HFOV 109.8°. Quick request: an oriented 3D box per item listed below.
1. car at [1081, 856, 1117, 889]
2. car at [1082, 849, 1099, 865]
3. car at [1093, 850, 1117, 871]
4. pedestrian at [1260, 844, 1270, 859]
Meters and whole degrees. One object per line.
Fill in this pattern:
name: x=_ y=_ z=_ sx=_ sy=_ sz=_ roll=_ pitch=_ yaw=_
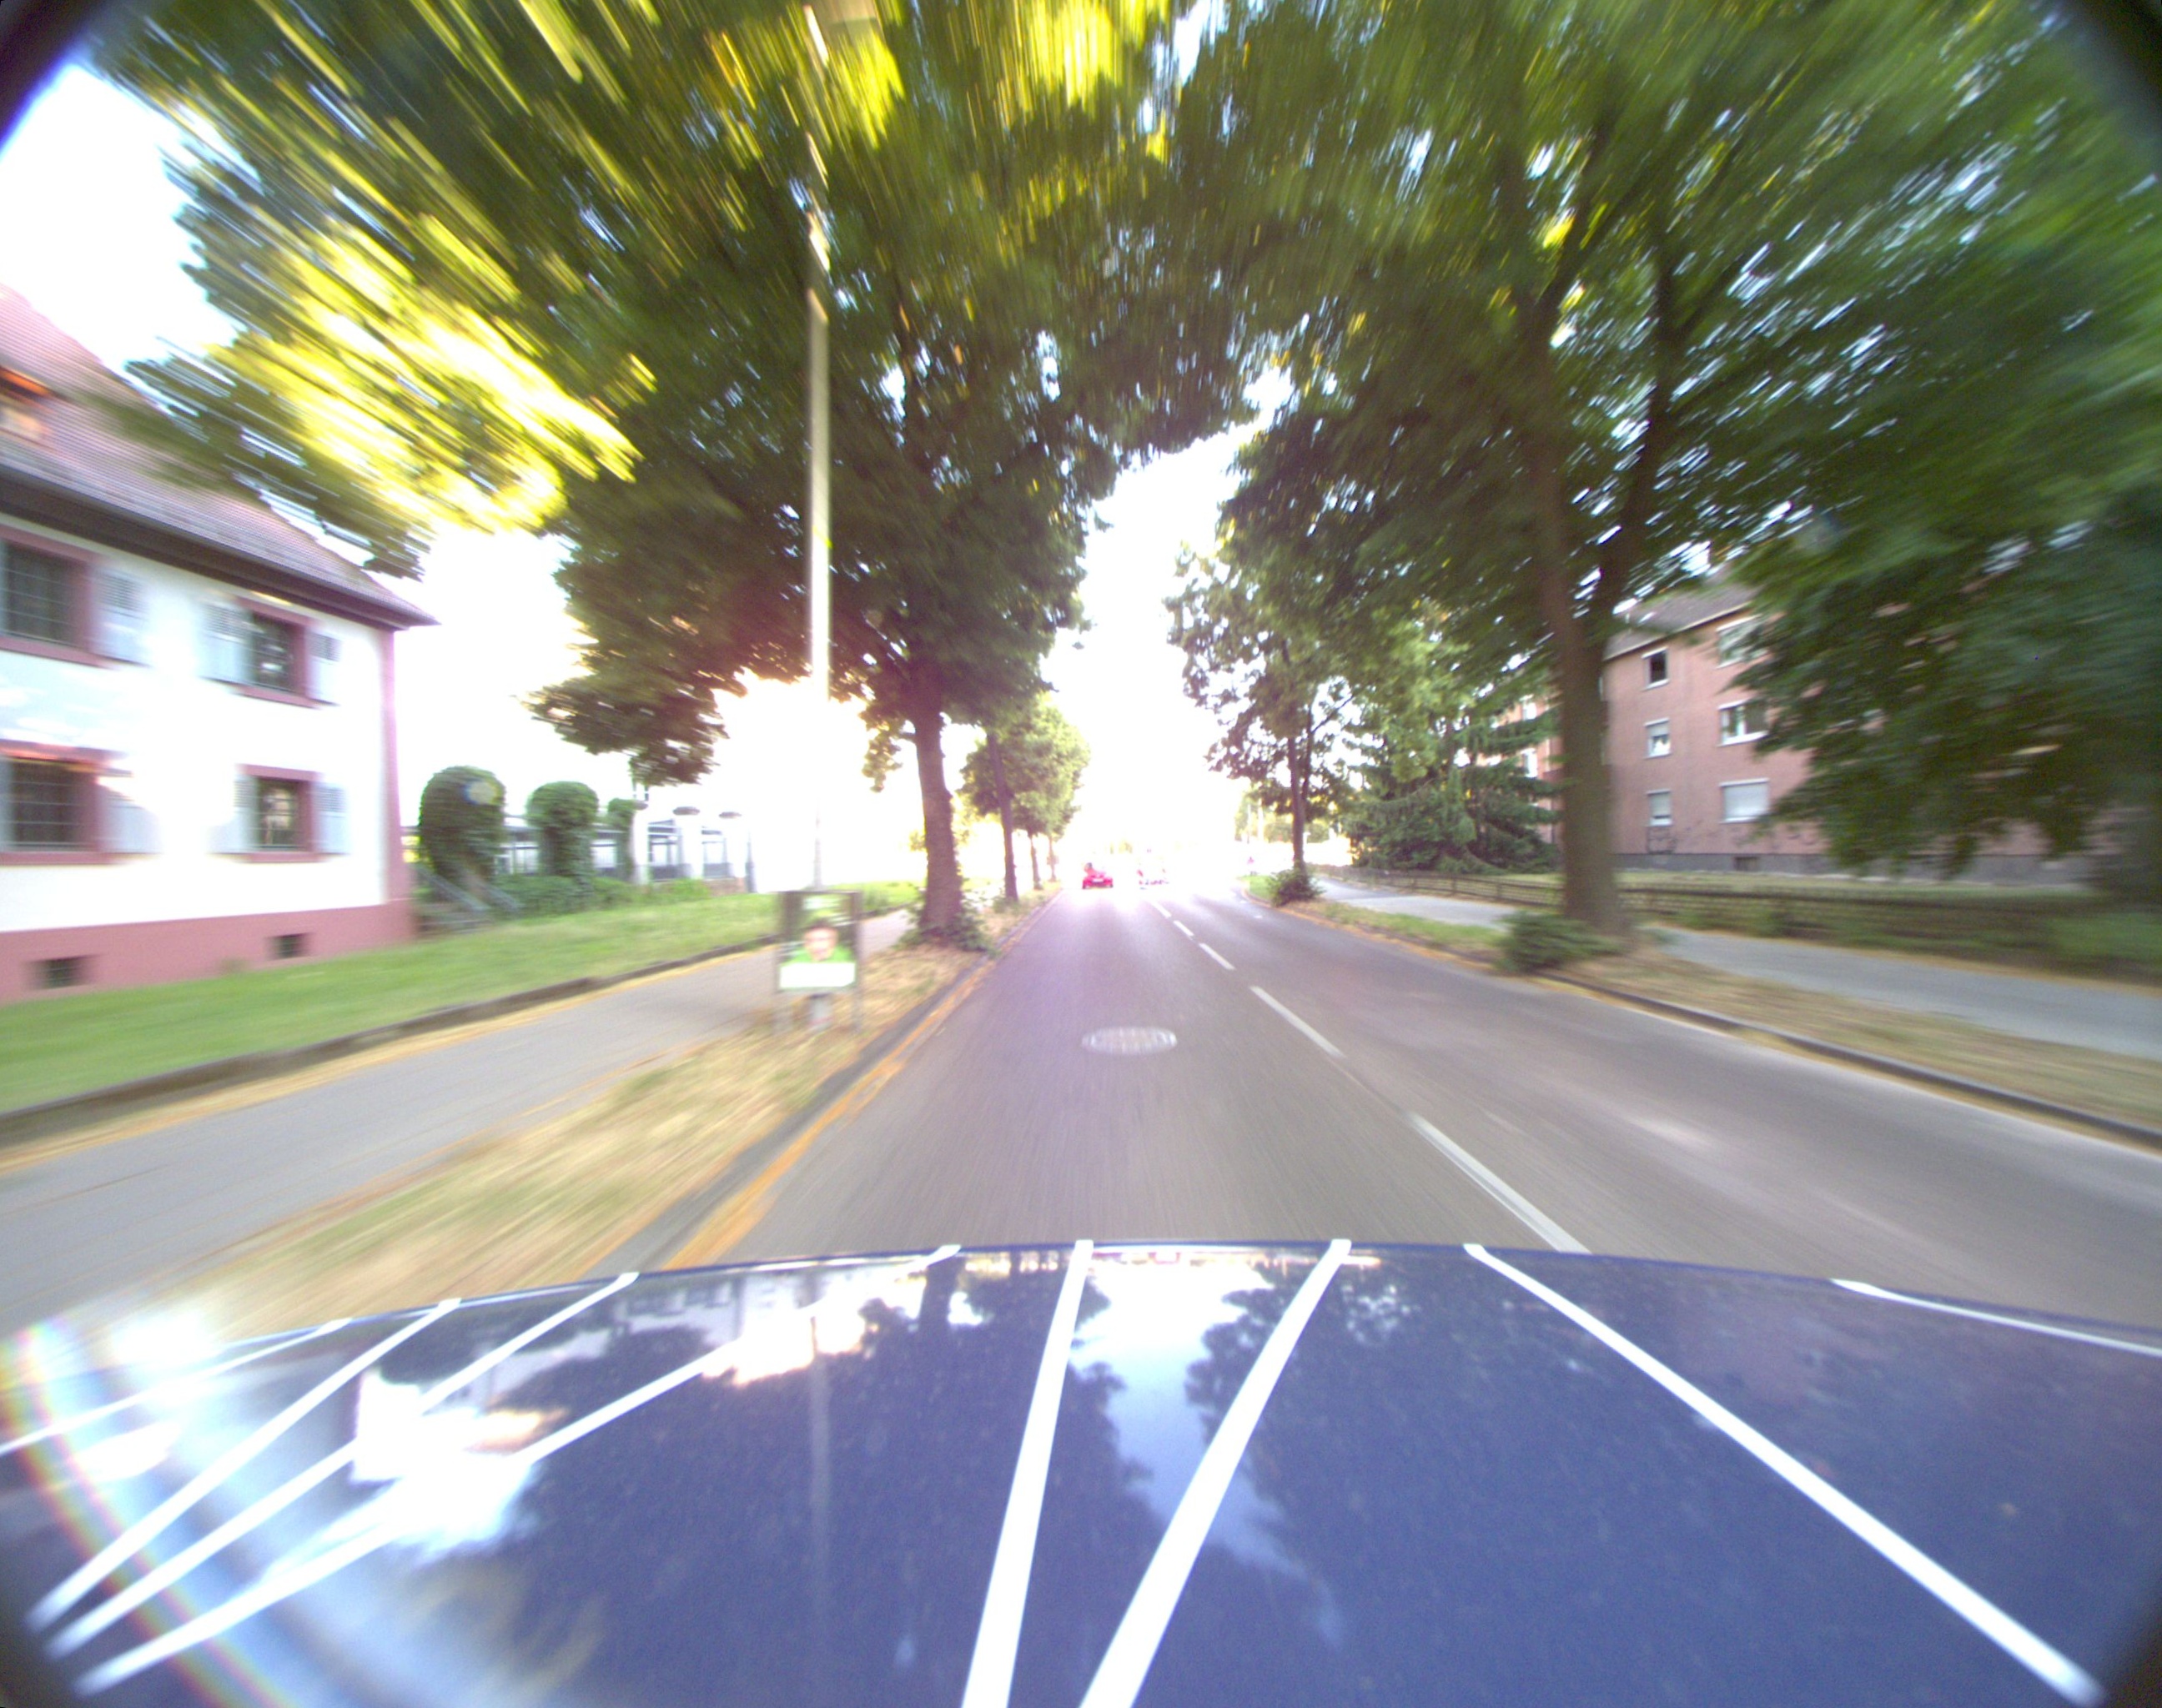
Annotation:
car: x=0.869 y=0.880 z=38.476 sx=1.619 sy=1.405 sz=4.409 roll=-2 pitch=1 yaw=0
car: x=0.995 y=0.287 z=81.092 sx=1.790 sy=1.548 sz=4.408 roll=-2 pitch=1 yaw=0
car: x=2.051 y=0.515 z=62.940 sx=1.789 sy=1.548 sz=4.409 roll=-2 pitch=1 yaw=3
pedestrian: x=22.147 y=-0.305 z=91.446 sx=0.927 sy=1.685 sz=0.786 roll=-1 pitch=1 yaw=-10
